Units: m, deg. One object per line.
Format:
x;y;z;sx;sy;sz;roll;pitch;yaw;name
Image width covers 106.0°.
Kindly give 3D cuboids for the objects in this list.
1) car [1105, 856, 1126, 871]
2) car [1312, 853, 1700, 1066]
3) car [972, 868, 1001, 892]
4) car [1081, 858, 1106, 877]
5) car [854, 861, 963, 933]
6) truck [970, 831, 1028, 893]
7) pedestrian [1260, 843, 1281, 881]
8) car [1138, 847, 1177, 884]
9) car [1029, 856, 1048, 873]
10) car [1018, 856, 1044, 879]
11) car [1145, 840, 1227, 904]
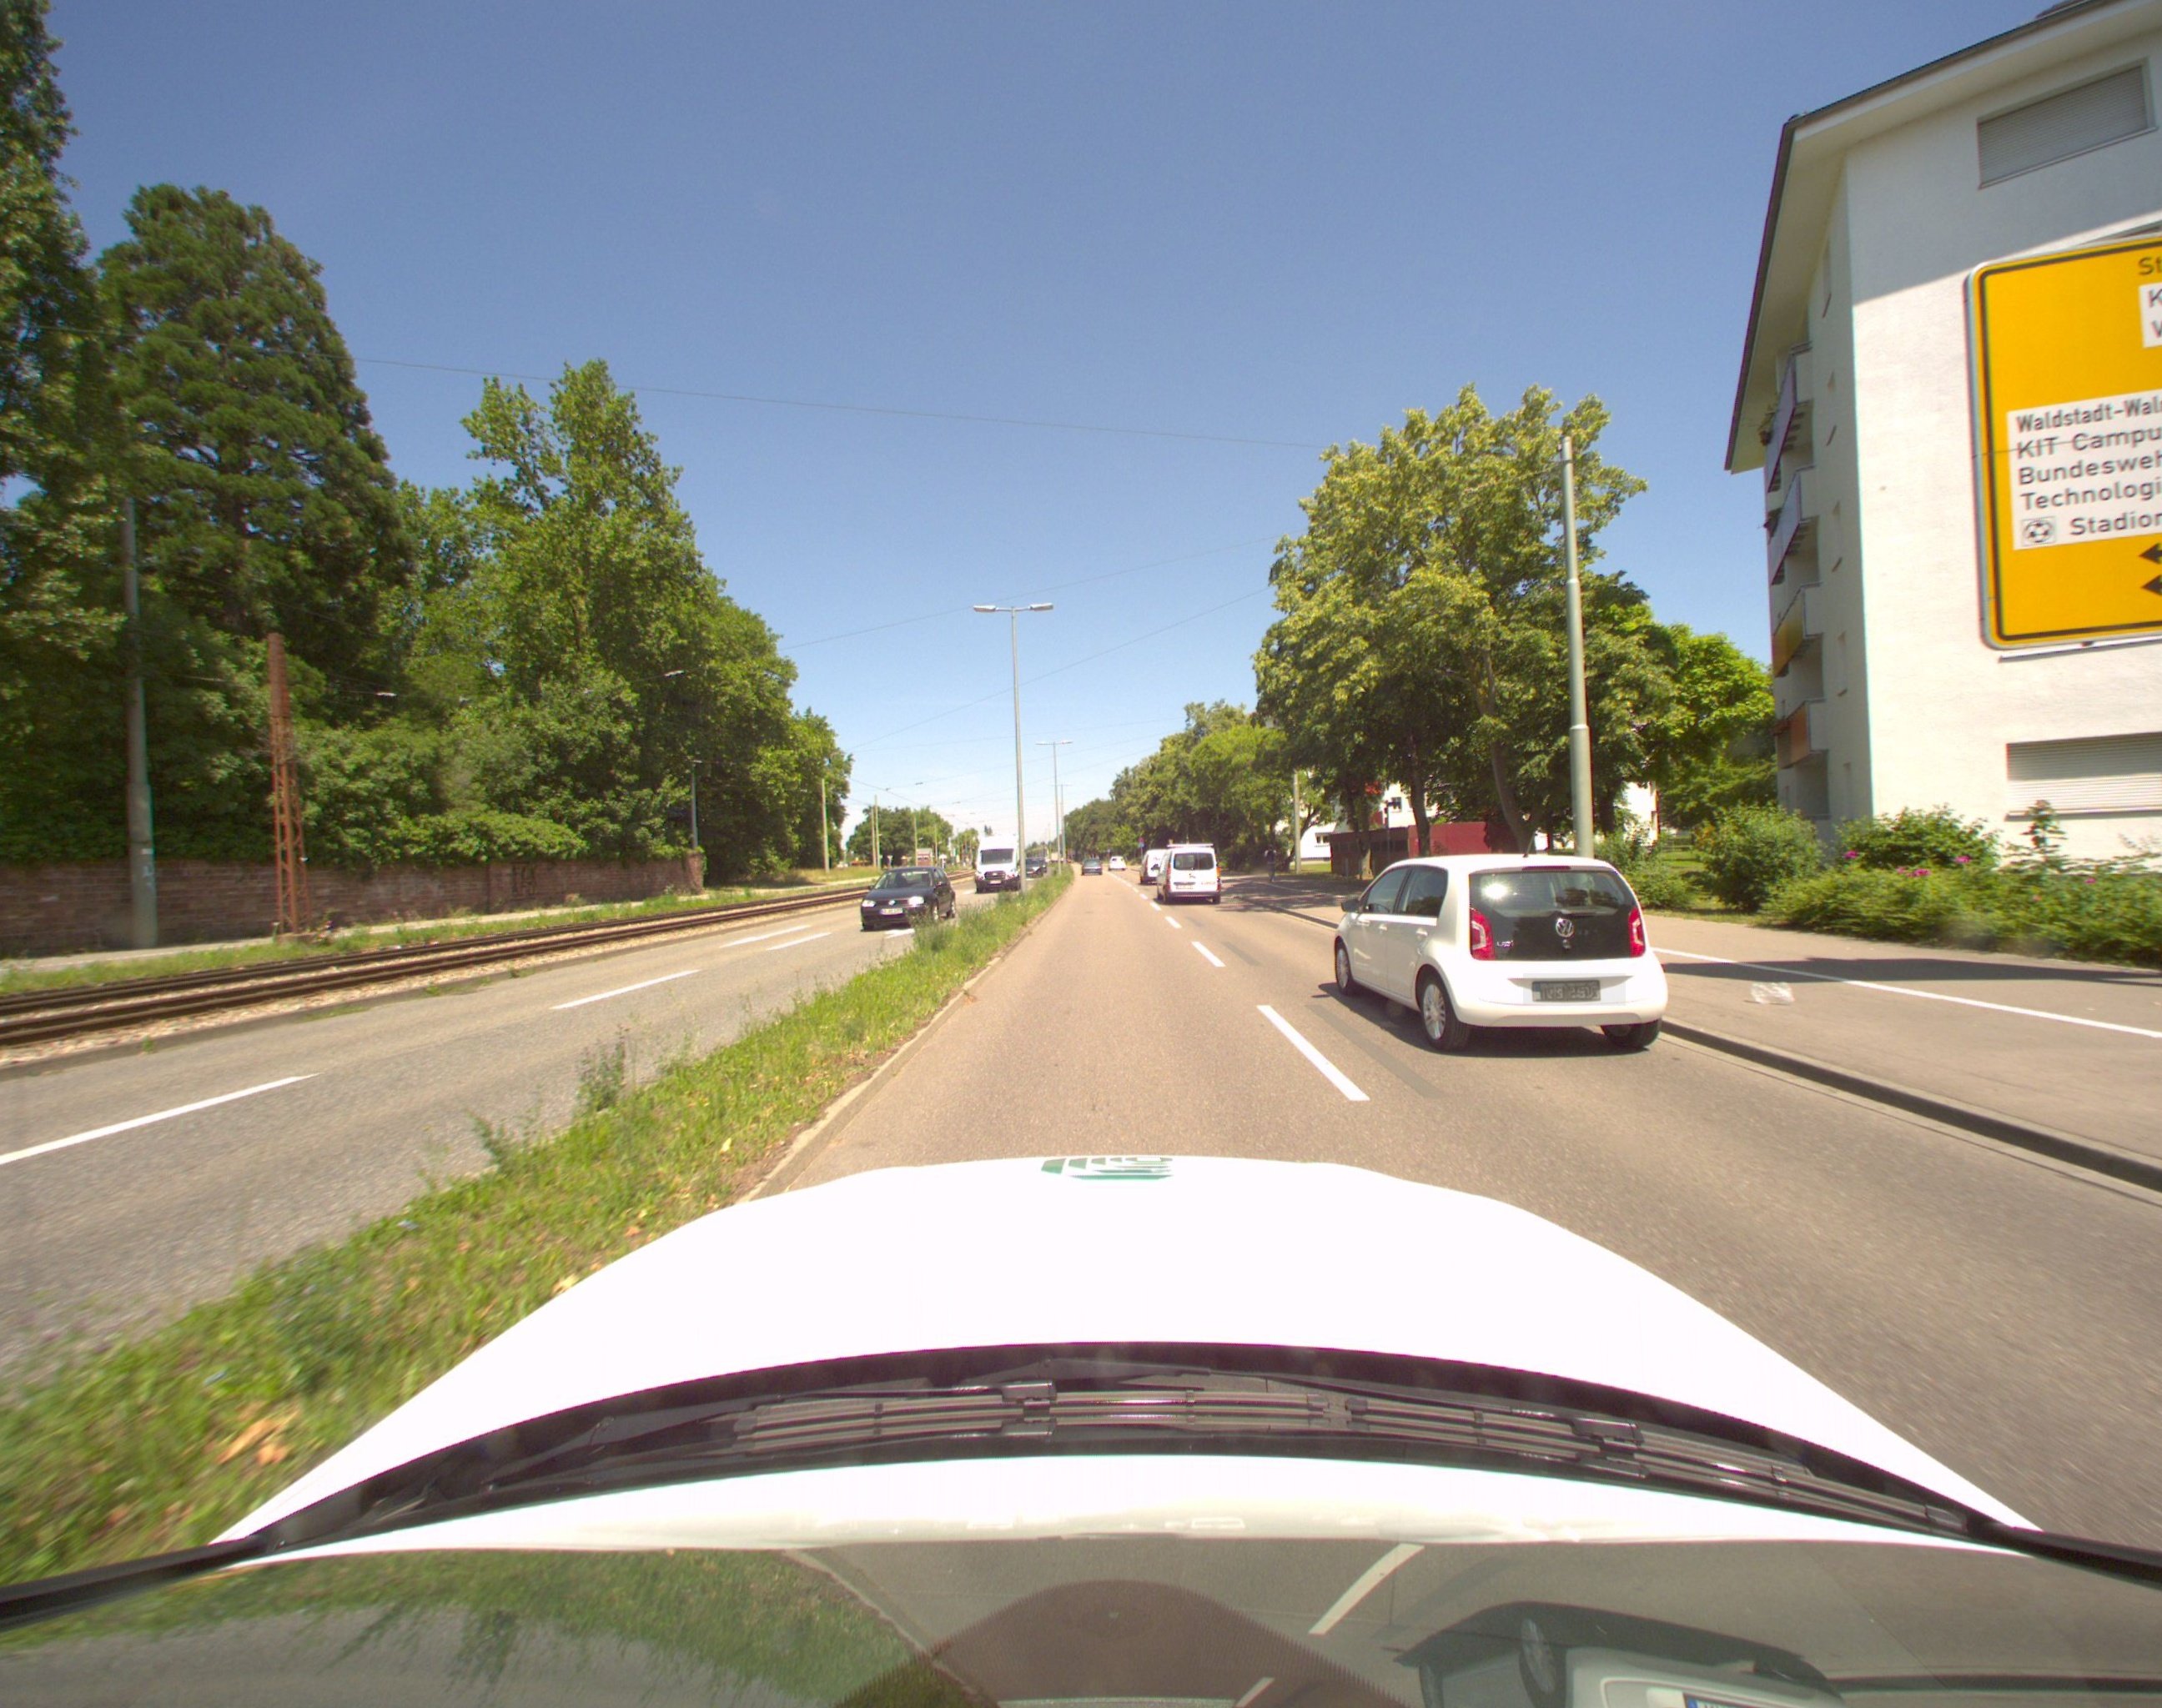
3.704;1.024;87.378;1.799;1.540;3.994;-2;-1;-4;car
3.502;0.744;7.592;1.653;1.449;3.855;-1;0;1;car
-7.056;1.932;61.290;1.825;1.585;3.767;-4;0;-3;car
0.995;1.137;67.901;1.798;1.486;3.995;-2;-1;-4;car
-4.133;0.975;20.092;1.710;1.458;3.914;-3;0;1;car
-3.960;0.382;40.341;2.074;2.748;5.547;-3;0;1;truck
8.436;0.365;36.312;0.666;1.644;0.856;-2;-1;0;pedestrian
3.939;0.577;42.600;1.722;1.814;4.001;-1;0;1;car
-4.570;1.088;88.452;1.824;1.713;4.791;-4;0;-1;car
-4.100;1.088;66.823;1.824;1.756;4.486;-4;0;-1;car
3.331;0.556;26.677;1.820;1.882;4.450;-1;0;-3;car
